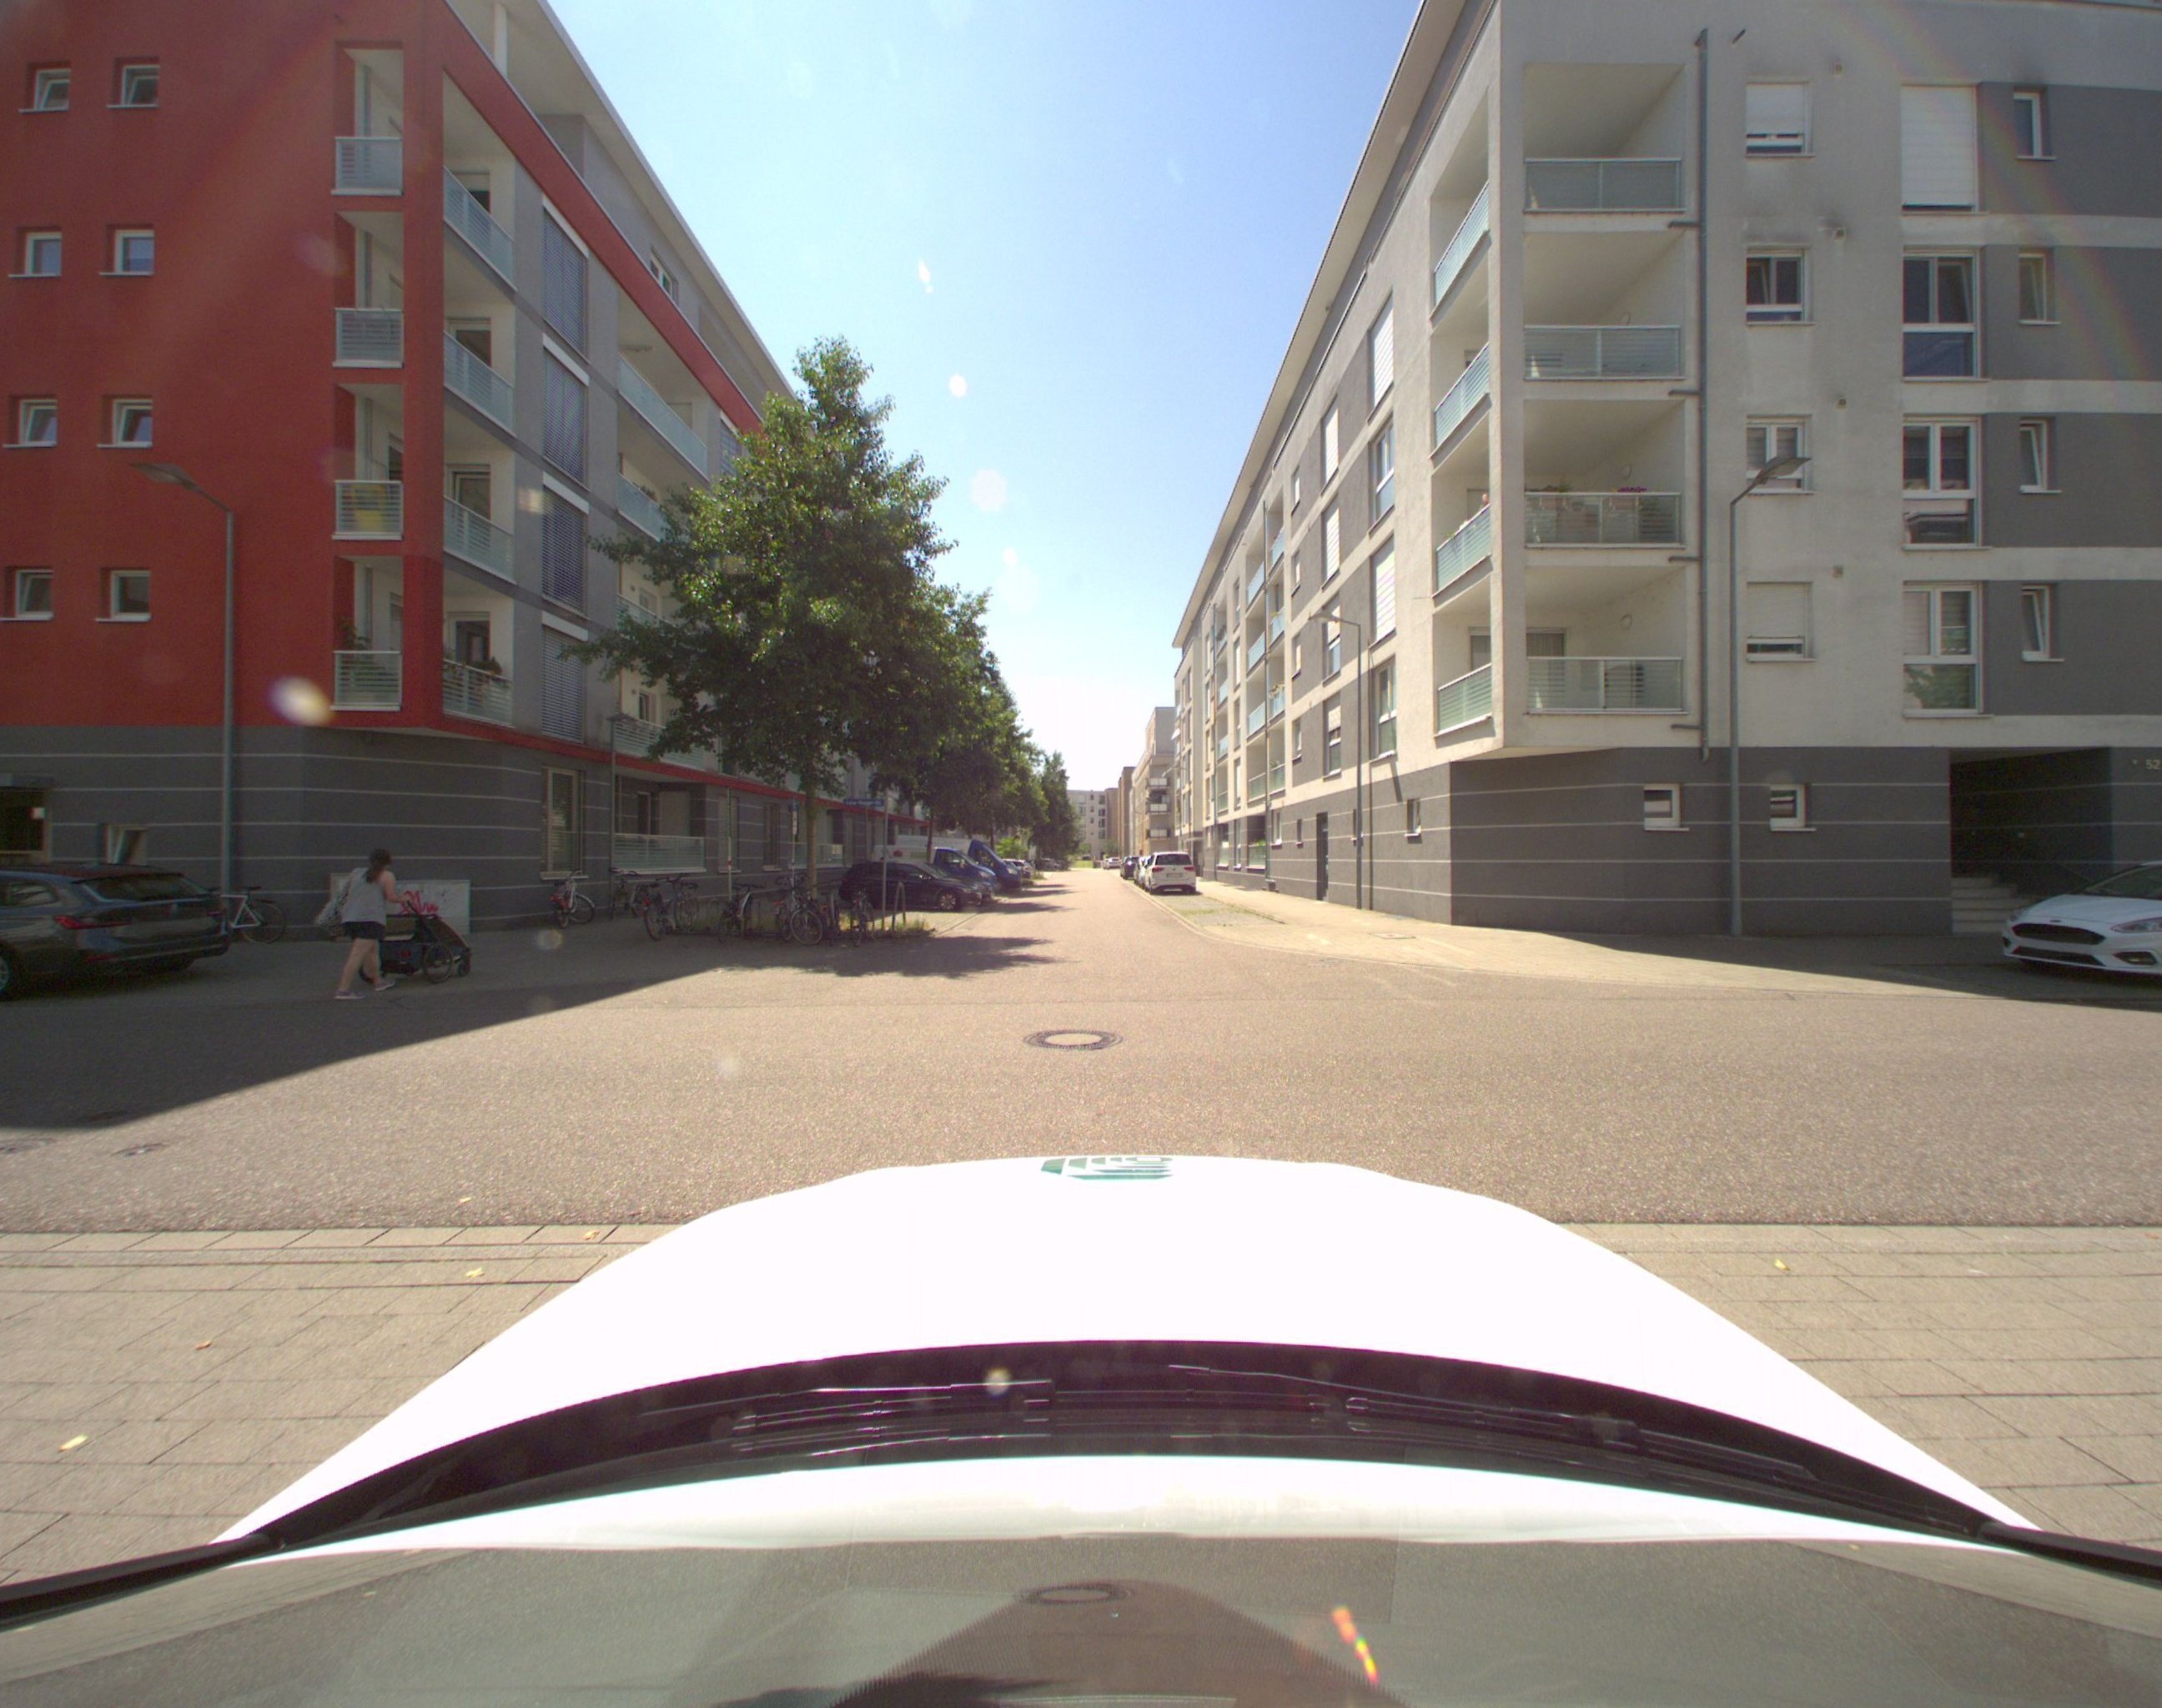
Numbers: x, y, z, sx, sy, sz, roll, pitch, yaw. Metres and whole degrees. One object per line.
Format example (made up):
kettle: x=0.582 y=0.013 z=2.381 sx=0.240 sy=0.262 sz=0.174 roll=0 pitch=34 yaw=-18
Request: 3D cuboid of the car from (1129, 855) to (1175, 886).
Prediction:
car: x=3.680 y=0.815 z=42.881 sx=1.987 sy=1.524 sz=3.999 roll=-1 pitch=0 yaw=-1

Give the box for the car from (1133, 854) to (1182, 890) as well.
car: x=3.507 y=0.800 z=38.052 sx=1.986 sy=1.524 sz=4.001 roll=-1 pitch=0 yaw=1

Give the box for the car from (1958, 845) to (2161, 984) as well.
car: x=13.618 y=0.658 z=9.944 sx=3.975 sy=1.469 sz=1.755 roll=0 pitch=2 yaw=-1

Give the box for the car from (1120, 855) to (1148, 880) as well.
car: x=3.405 y=0.839 z=52.461 sx=1.750 sy=1.552 sz=4.004 roll=0 pitch=0 yaw=4

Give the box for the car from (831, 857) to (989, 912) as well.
car: x=-5.188 y=0.894 z=25.161 sx=4.368 sy=1.515 sz=2.075 roll=1 pitch=0 yaw=0

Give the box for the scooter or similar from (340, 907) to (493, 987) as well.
scooter or similar: x=-8.278 y=1.138 z=10.205 sx=1.064 sy=0.888 sz=1.019 roll=0 pitch=0 yaw=2

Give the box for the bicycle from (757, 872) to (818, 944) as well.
bicycle: x=-5.482 y=0.975 z=15.298 sx=0.517 sy=1.204 sz=1.751 roll=1 pitch=1 yaw=-1

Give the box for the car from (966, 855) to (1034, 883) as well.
car: x=-5.043 y=0.935 z=51.244 sx=3.971 sy=1.662 sz=2.001 roll=0 pitch=0 yaw=2

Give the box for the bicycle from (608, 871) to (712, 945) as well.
bicycle: x=-7.650 y=0.938 z=14.925 sx=0.687 sy=1.170 sz=2.223 roll=2 pitch=1 yaw=1

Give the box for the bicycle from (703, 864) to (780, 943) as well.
bicycle: x=-6.250 y=0.874 z=15.092 sx=0.591 sy=1.331 sz=1.813 roll=-1 pitch=1 yaw=1

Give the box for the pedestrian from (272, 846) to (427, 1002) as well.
pedestrian: x=-8.296 y=0.765 z=9.281 sx=0.996 sy=1.690 sz=0.832 roll=-1 pitch=0 yaw=1

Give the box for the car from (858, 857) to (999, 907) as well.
car: x=-5.086 y=0.930 z=27.647 sx=4.368 sy=1.542 sz=1.878 roll=1 pitch=0 yaw=0

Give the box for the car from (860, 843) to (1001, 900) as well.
car: x=-5.866 y=0.677 z=32.349 sx=5.128 sy=2.119 sz=2.311 roll=1 pitch=0 yaw=0

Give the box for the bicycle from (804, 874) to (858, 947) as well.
bicycle: x=-4.589 y=1.009 z=15.038 sx=0.569 sy=1.174 sz=1.765 roll=3 pitch=1 yaw=-6

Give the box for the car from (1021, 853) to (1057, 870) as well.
car: x=-4.985 y=0.898 z=96.619 sx=3.966 sy=2.014 sz=2.004 roll=0 pitch=0 yaw=7

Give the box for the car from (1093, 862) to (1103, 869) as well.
car: x=3.399 y=2.294 z=163.545 sx=1.985 sy=1.519 sz=4.003 roll=0 pitch=0 yaw=3

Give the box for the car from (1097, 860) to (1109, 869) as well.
car: x=3.835 y=1.803 z=142.299 sx=1.987 sy=1.519 sz=3.999 roll=0 pitch=0 yaw=-1

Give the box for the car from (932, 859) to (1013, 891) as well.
car: x=-5.726 y=1.108 z=43.495 sx=3.971 sy=1.662 sz=2.001 roll=0 pitch=0 yaw=2

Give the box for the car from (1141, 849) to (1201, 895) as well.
car: x=3.516 y=0.666 z=32.352 sx=1.990 sy=1.657 sz=4.116 roll=-1 pitch=0 yaw=1

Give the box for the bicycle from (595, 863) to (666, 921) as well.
bicycle: x=-10.432 y=0.850 z=18.928 sx=0.549 sy=1.240 sz=1.924 roll=-1 pitch=0 yaw=0

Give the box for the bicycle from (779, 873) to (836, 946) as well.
bicycle: x=-5.022 y=0.982 z=15.045 sx=0.432 sy=1.204 sz=1.700 roll=1 pitch=1 yaw=1

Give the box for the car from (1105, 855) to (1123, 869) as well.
car: x=4.078 y=0.990 z=101.013 sx=1.987 sy=1.675 sz=3.999 roll=0 pitch=0 yaw=-1

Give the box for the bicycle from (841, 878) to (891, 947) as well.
bicycle: x=-3.997 y=1.059 z=15.257 sx=0.464 sy=1.141 sz=1.925 roll=-1 pitch=0 yaw=-1

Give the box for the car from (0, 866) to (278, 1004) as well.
car: x=-12.791 y=0.896 z=9.603 sx=4.560 sy=1.383 sz=1.936 roll=0 pitch=1 yaw=-2

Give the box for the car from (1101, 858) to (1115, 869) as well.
car: x=4.259 y=1.492 z=128.237 sx=1.987 sy=1.717 sz=3.999 roll=0 pitch=0 yaw=-1

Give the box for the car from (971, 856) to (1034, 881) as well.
car: x=-5.238 y=0.963 z=54.981 sx=3.971 sy=1.618 sz=2.001 roll=0 pitch=0 yaw=2

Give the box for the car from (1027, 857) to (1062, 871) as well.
car: x=-4.444 y=1.184 z=99.223 sx=3.966 sy=1.602 sz=2.004 roll=0 pitch=0 yaw=6

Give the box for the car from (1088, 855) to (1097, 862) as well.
car: x=2.511 y=1.076 z=184.428 sx=1.987 sy=1.519 sz=3.999 roll=0 pitch=0 yaw=-1

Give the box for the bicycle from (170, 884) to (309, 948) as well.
bicycle: x=-13.530 y=0.991 z=13.114 sx=1.836 sy=0.987 sz=0.301 roll=0 pitch=0 yaw=-3

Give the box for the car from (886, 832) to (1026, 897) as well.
car: x=-5.675 y=0.487 z=37.782 sx=6.004 sy=2.816 sz=2.605 roll=-1 pitch=0 yaw=0

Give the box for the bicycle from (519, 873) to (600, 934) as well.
bicycle: x=-10.382 y=0.945 z=16.301 sx=0.607 sy=1.107 sz=2.099 roll=0 pitch=0 yaw=-10
